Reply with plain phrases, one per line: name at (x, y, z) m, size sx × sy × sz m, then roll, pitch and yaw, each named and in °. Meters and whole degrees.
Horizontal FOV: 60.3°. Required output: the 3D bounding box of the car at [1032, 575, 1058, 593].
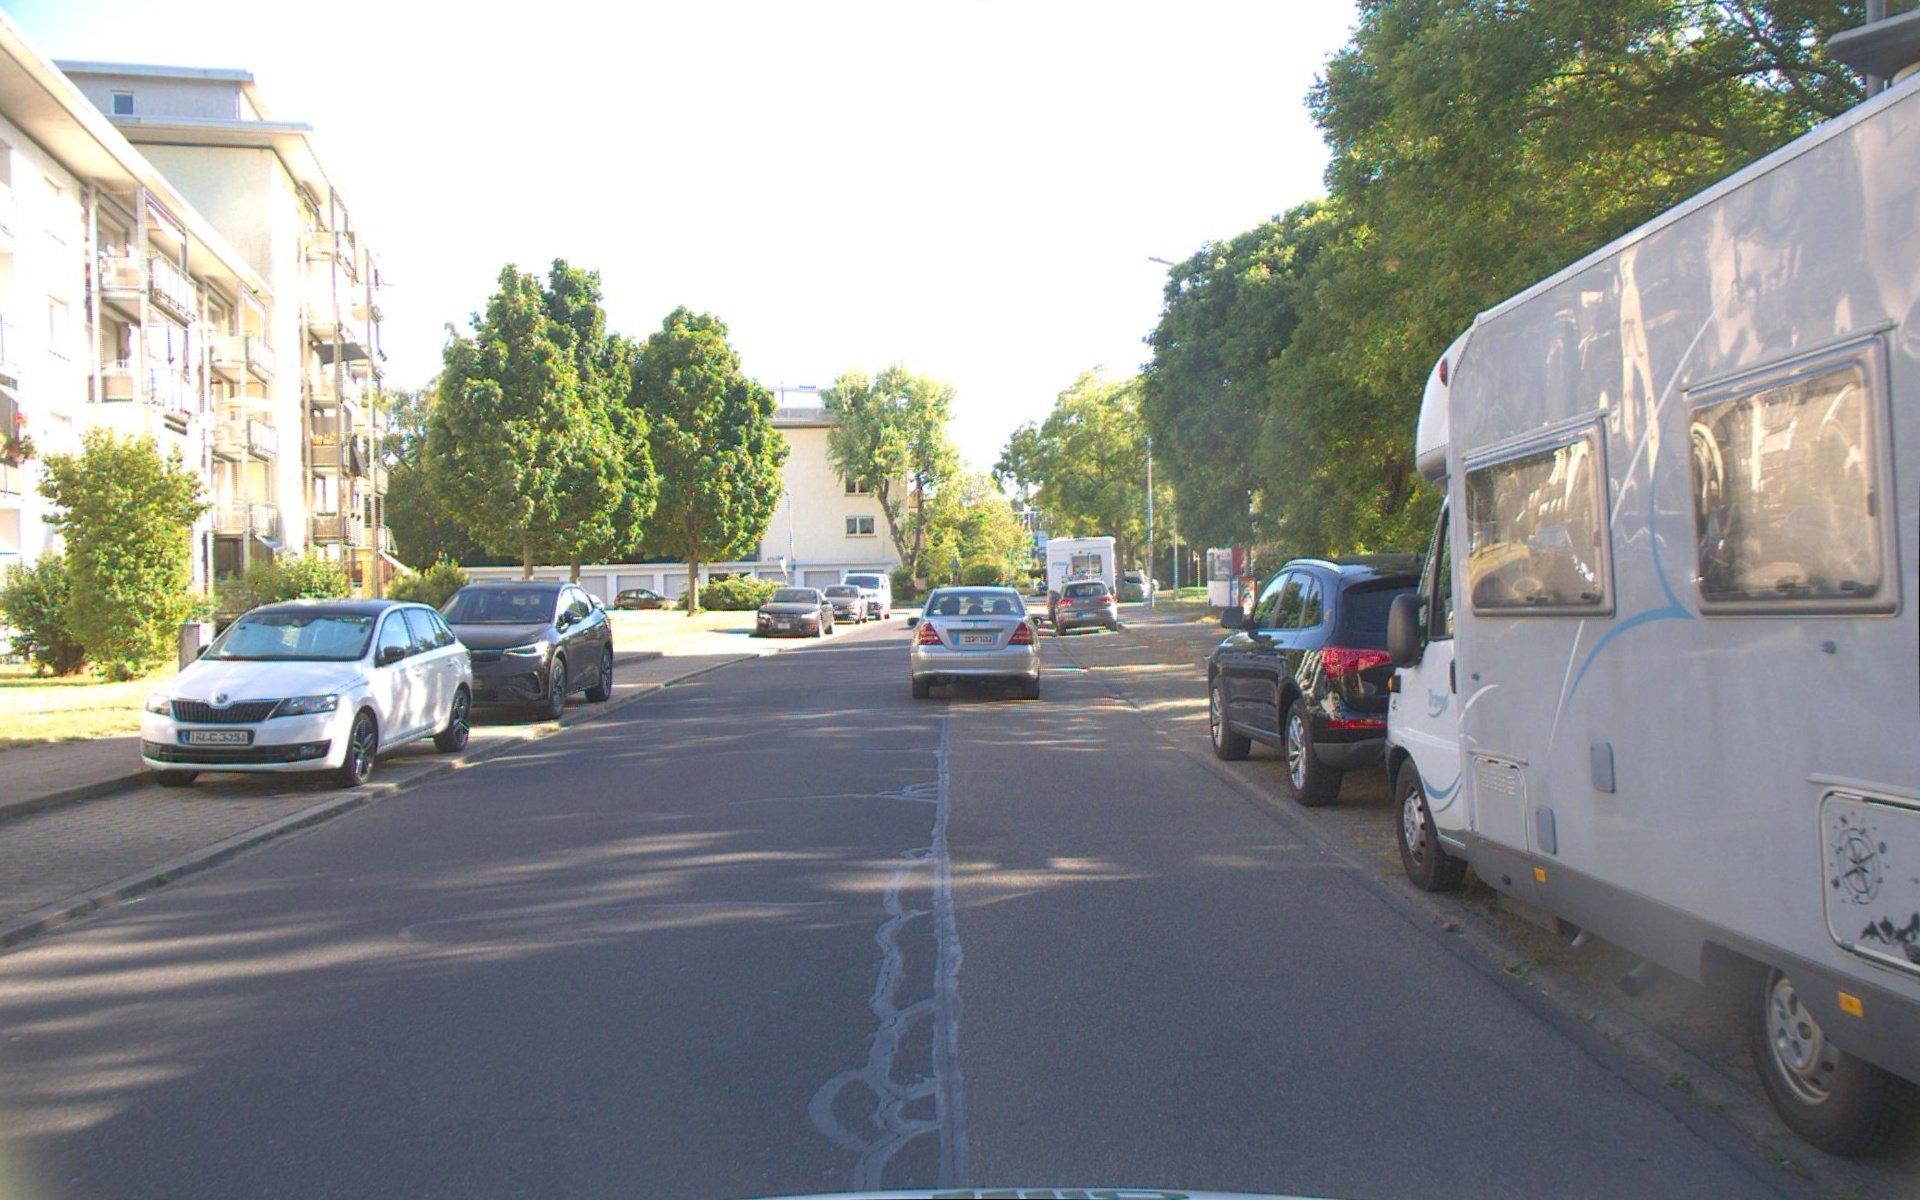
car at (7.939, -1.465, 154.104) m, size 1.872 × 1.516 × 3.840 m, roll -4°, pitch 0°, yaw 10°

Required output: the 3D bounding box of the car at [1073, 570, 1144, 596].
car at (9.960, -1.147, 110.993) m, size 4.681 × 1.576 × 2.013 m, roll -2°, pitch 1°, yaw 5°

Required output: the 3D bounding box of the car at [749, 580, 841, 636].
car at (-4.880, 0.207, 49.711) m, size 1.992 × 1.519 × 5.258 m, roll -2°, pitch 1°, yaw 2°

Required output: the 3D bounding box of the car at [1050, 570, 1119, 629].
car at (3.649, -0.054, 49.104) m, size 1.685 × 1.550 × 4.429 m, roll -5°, pitch 1°, yaw 1°

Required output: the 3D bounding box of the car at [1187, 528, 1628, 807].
car at (3.191, 0.394, 12.887) m, size 1.954 × 1.669 × 4.534 m, roll -3°, pitch 1°, yaw -3°

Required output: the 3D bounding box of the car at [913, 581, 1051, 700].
car at (0.250, 0.499, 22.104) m, size 1.698 × 1.459 × 3.437 m, roll 0°, pitch 0°, yaw -1°

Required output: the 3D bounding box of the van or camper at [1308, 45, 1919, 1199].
van or camper at (3.241, 0.006, 6.089) m, size 2.304 × 2.641 × 6.425 m, roll -5°, pitch 1°, yaw -1°

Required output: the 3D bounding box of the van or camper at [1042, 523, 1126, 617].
van or camper at (4.129, -1.020, 56.196) m, size 2.445 × 2.894 × 6.853 m, roll -2°, pitch 1°, yaw 2°

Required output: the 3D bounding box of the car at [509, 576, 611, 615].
car at (-22.306, -0.277, 92.340) m, size 4.996 × 1.985 × 2.239 m, roll -2°, pitch 1°, yaw 10°

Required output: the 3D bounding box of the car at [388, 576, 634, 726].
car at (-5.562, 0.557, 21.155) m, size 1.875 × 1.632 × 4.811 m, roll -2°, pitch 1°, yaw -1°

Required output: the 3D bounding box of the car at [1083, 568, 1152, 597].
car at (11.500, -1.297, 120.979) m, size 4.784 × 1.957 × 2.000 m, roll -2°, pitch 1°, yaw 1°

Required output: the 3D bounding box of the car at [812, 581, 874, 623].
car at (-4.401, 0.057, 62.771) m, size 1.795 × 1.544 × 4.223 m, roll 0°, pitch 0°, yaw 3°

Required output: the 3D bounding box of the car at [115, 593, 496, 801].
car at (-5.534, 0.724, 14.622) m, size 1.613 × 1.492 × 4.331 m, roll -1°, pitch 1°, yaw 0°

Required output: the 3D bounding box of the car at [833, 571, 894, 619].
car at (-3.994, -0.241, 69.257) m, size 1.972 × 1.918 × 5.193 m, roll 0°, pitch 1°, yaw 4°
